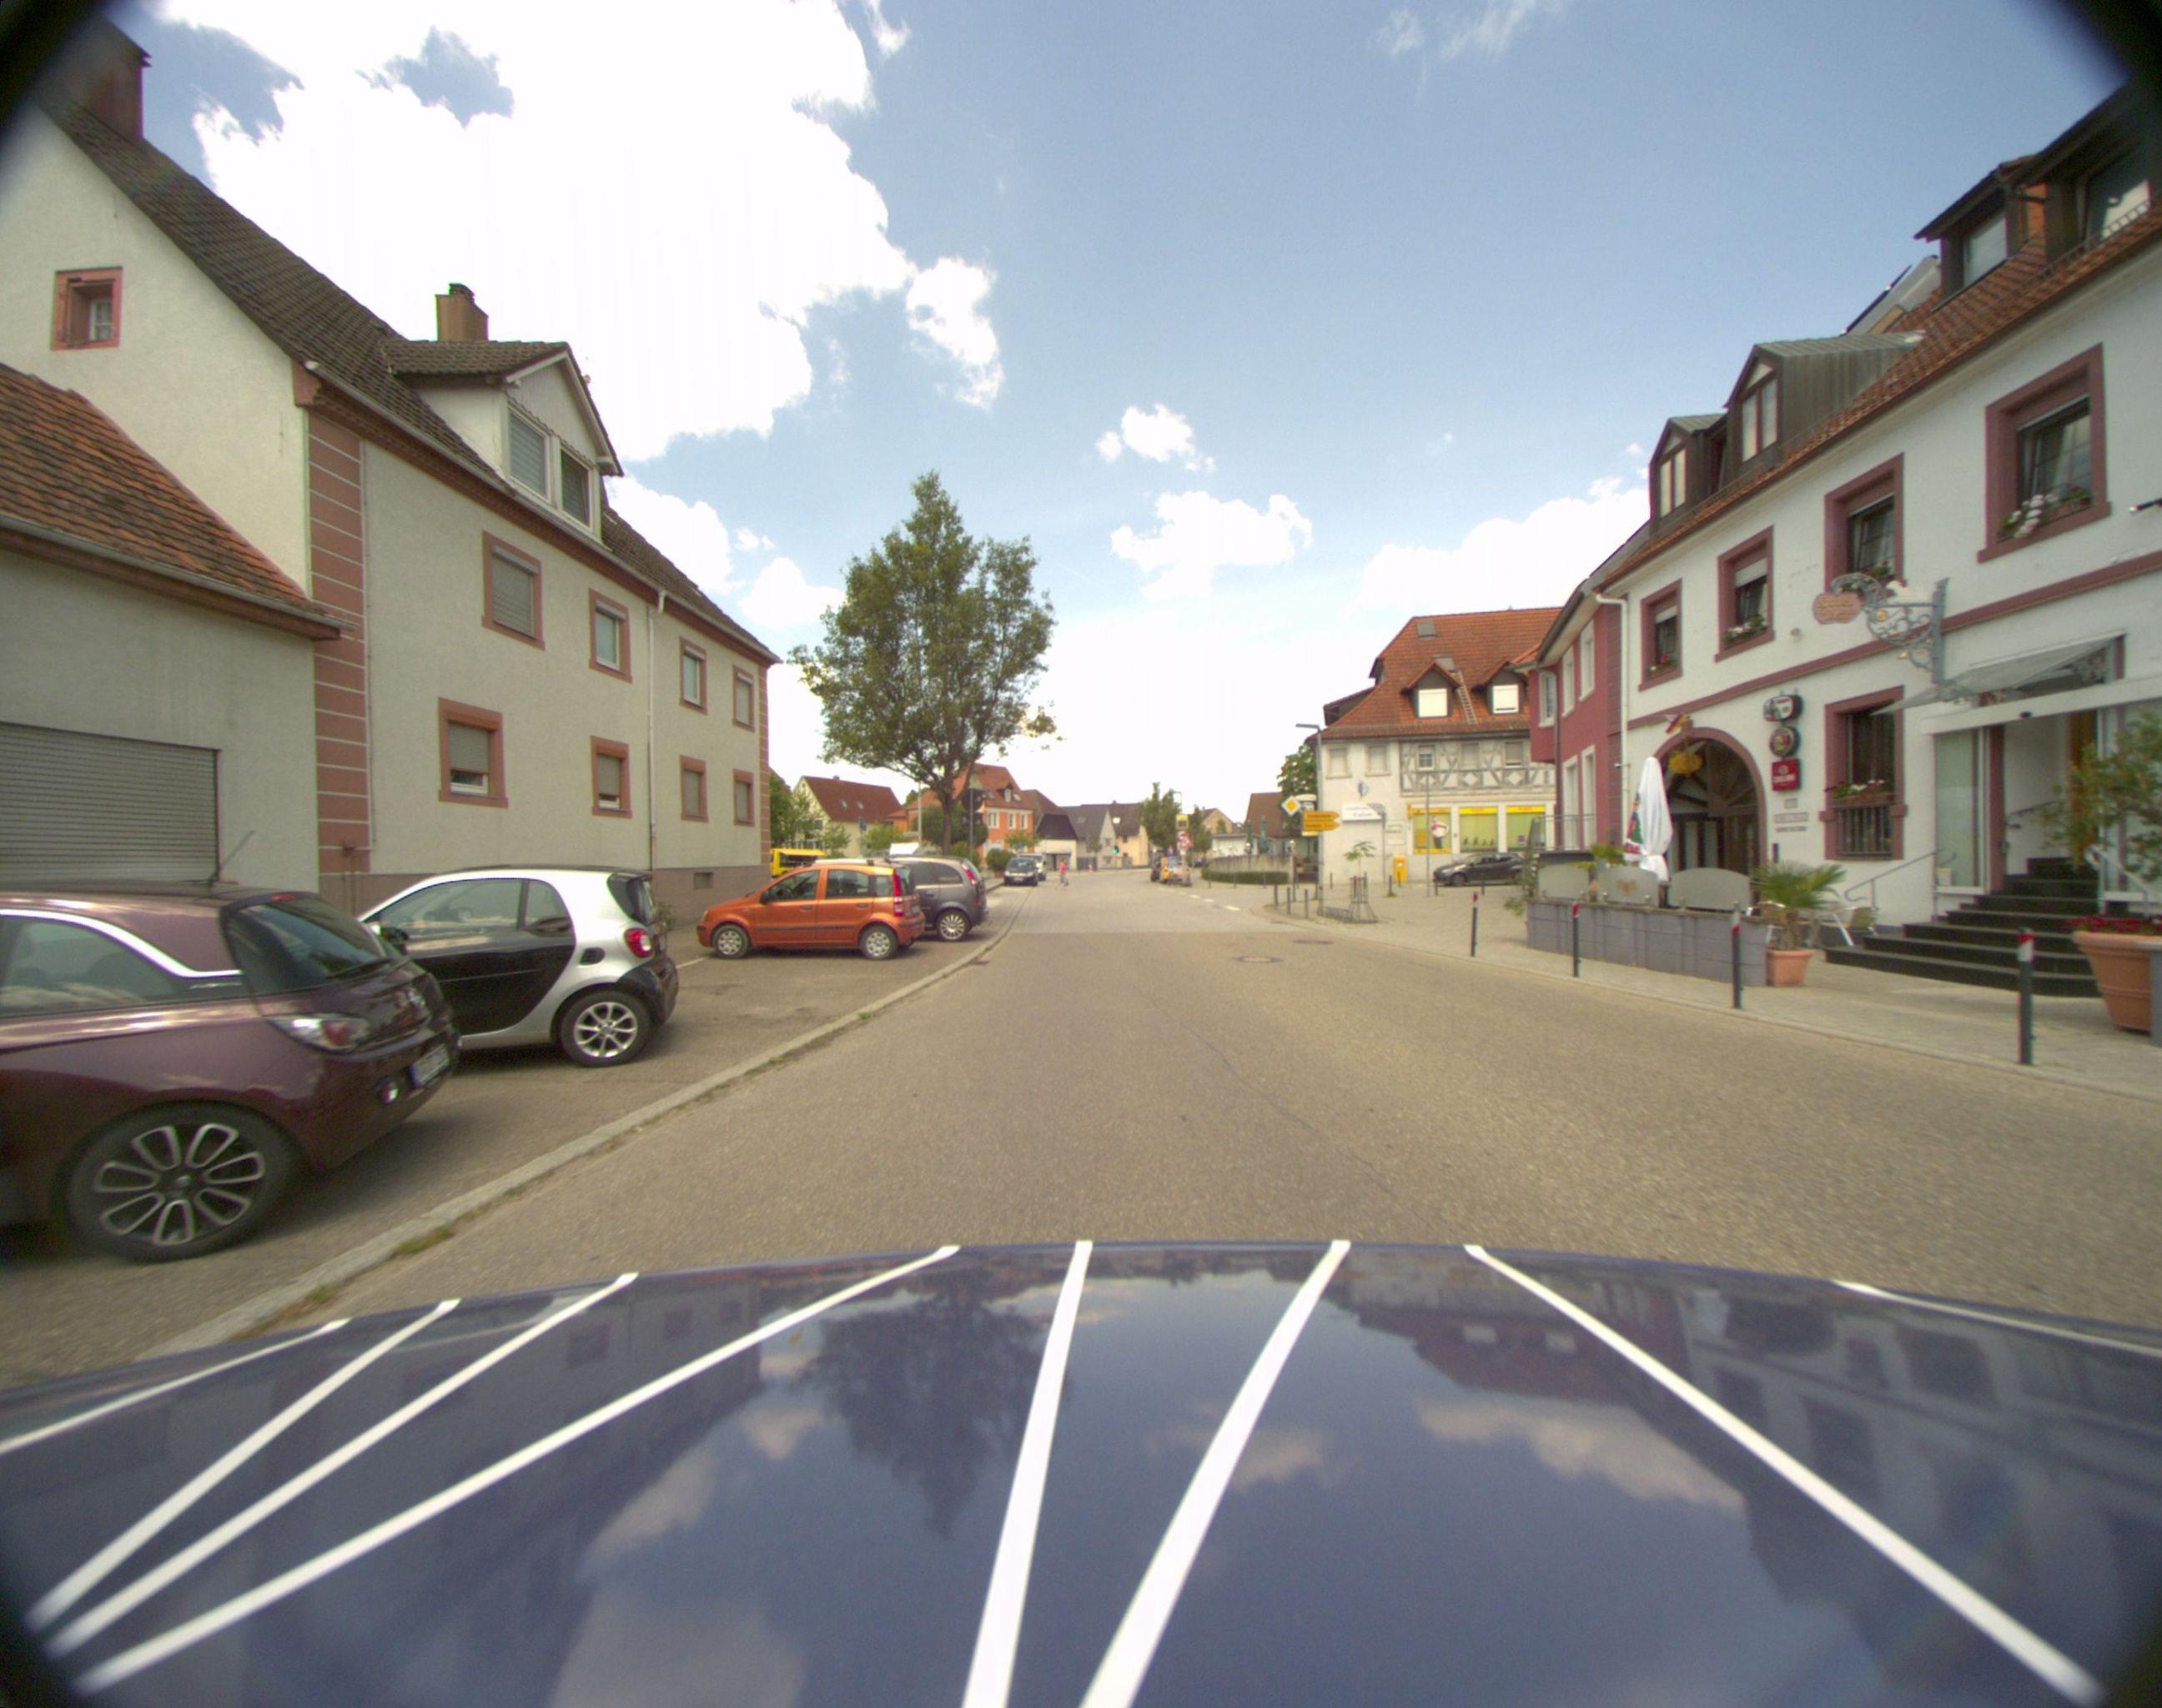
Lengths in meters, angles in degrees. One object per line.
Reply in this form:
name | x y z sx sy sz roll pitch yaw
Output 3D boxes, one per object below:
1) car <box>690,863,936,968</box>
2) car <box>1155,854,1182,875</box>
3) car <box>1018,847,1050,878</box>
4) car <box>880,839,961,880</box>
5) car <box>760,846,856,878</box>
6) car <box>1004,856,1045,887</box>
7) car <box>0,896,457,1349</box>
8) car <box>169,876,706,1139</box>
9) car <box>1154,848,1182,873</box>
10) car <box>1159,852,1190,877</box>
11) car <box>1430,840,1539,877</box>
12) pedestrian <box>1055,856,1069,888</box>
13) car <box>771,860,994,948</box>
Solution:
car | -4.247 0.951 12.432 3.385 1.568 1.726 0 0 0
car | 6.305 0.710 54.741 1.819 1.415 4.539 -1 0 6
car | -3.370 0.602 55.541 1.947 2.164 5.101 1 0 1
car | -11.978 0.339 57.411 2.755 2.946 7.122 0 1 18
car | -22.576 0.643 63.106 6.979 2.463 2.646 -1 0 -43
car | -3.117 0.948 42.844 1.773 1.555 4.419 1 0 2
car | -4.893 0.987 3.137 3.241 1.496 1.823 0 0 -26
car | -4.617 0.976 6.043 2.791 1.496 1.874 -1 0 -23
car | 7.177 0.502 62.326 1.990 1.978 5.047 -1 0 9
car | 5.897 0.648 48.303 1.672 1.466 3.963 -1 0 3
car | 17.973 0.204 34.024 3.947 1.509 1.775 -2 0 11
pedestrian | -0.955 0.904 38.638 0.640 1.619 0.620 -1 1 3
car | -3.699 0.931 14.731 3.859 1.568 1.850 0 0 -3
